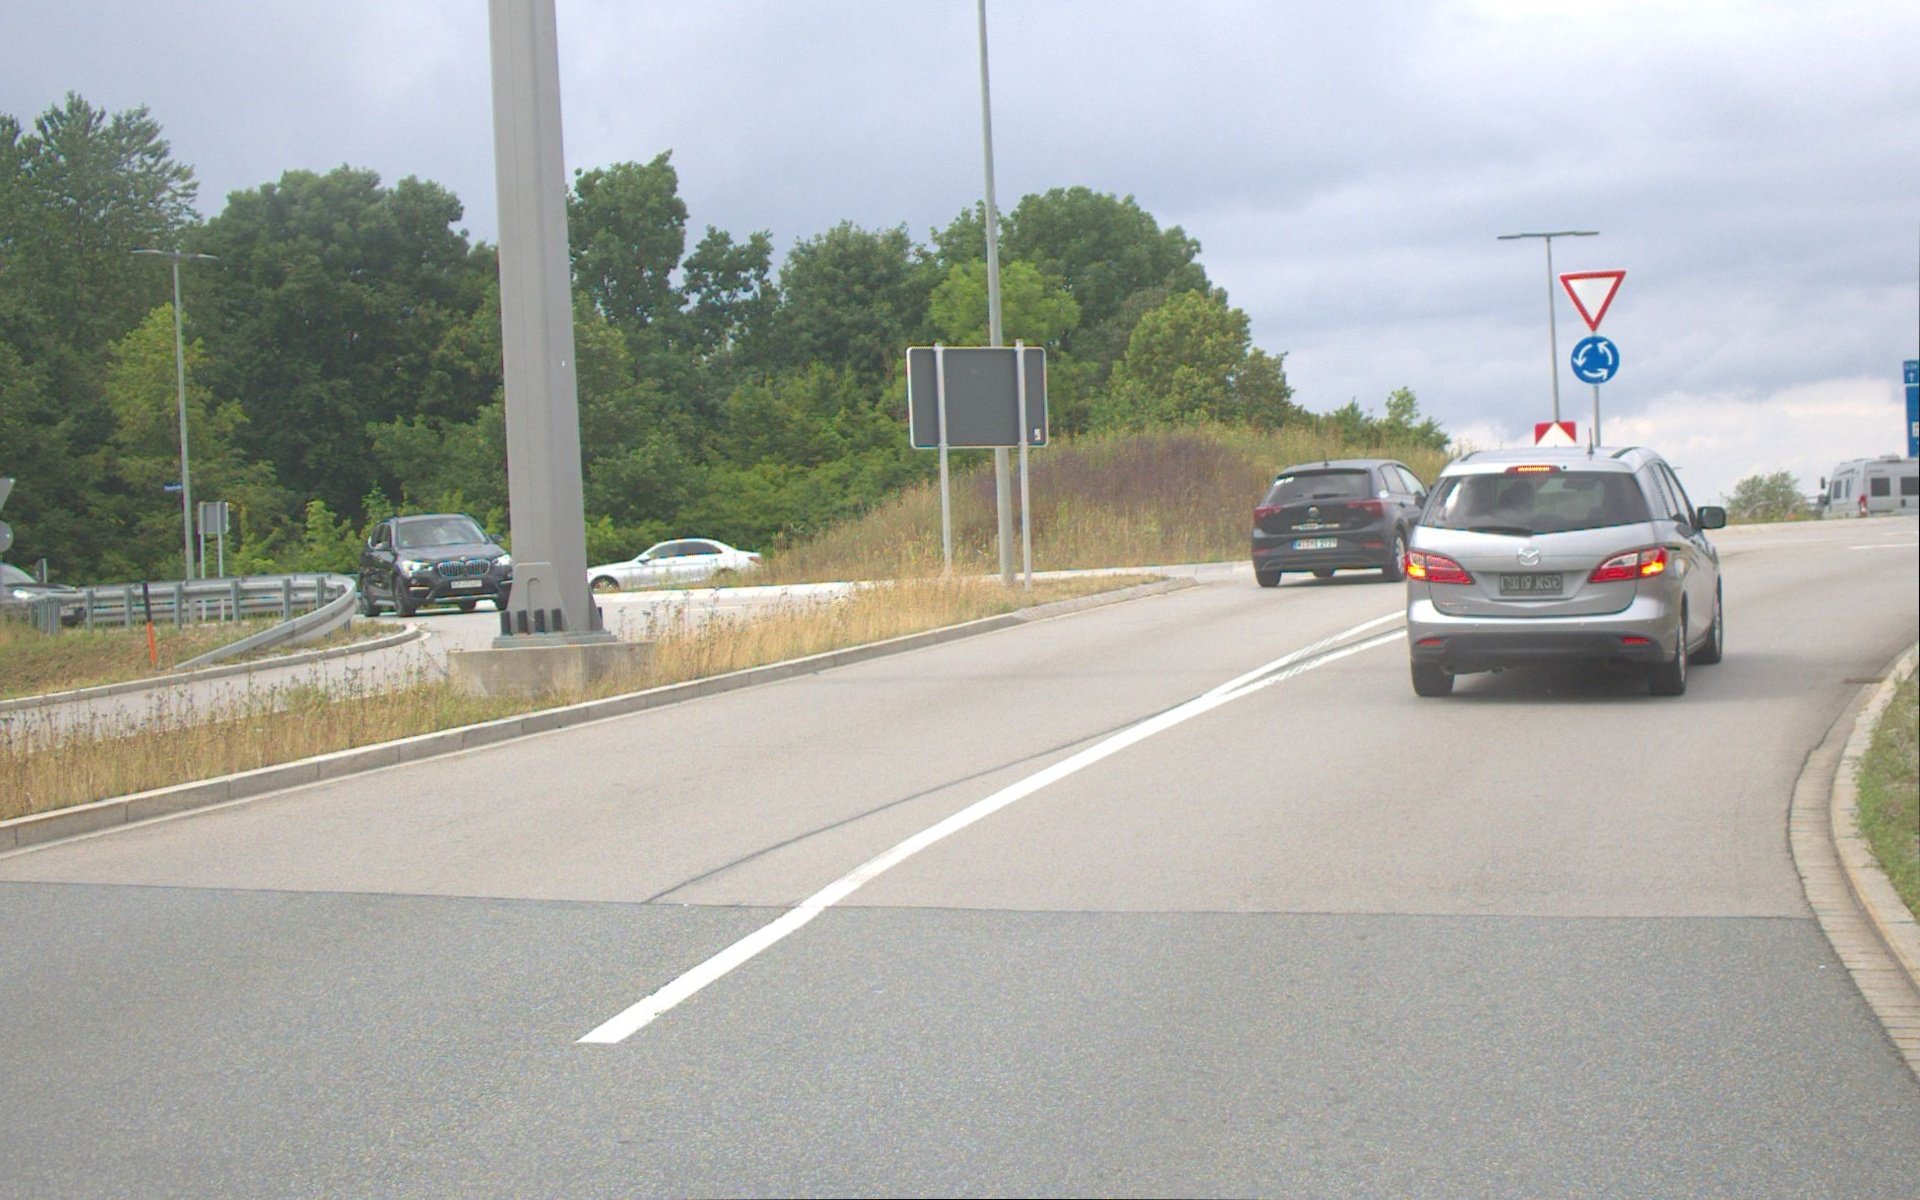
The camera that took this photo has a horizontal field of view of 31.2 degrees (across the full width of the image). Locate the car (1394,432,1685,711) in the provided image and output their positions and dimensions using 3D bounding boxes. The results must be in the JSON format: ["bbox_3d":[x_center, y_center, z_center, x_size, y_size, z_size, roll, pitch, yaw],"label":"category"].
[{"bbox_3d":[3.906,-0.266,23.205,1.768,1.611,3.921,0,4,10],"label":"car"}]

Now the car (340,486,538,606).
[{"bbox_3d":[-8.224,-0.818,53.974,1.854,1.659,4.163,-6,2,-25],"label":"car"}]
